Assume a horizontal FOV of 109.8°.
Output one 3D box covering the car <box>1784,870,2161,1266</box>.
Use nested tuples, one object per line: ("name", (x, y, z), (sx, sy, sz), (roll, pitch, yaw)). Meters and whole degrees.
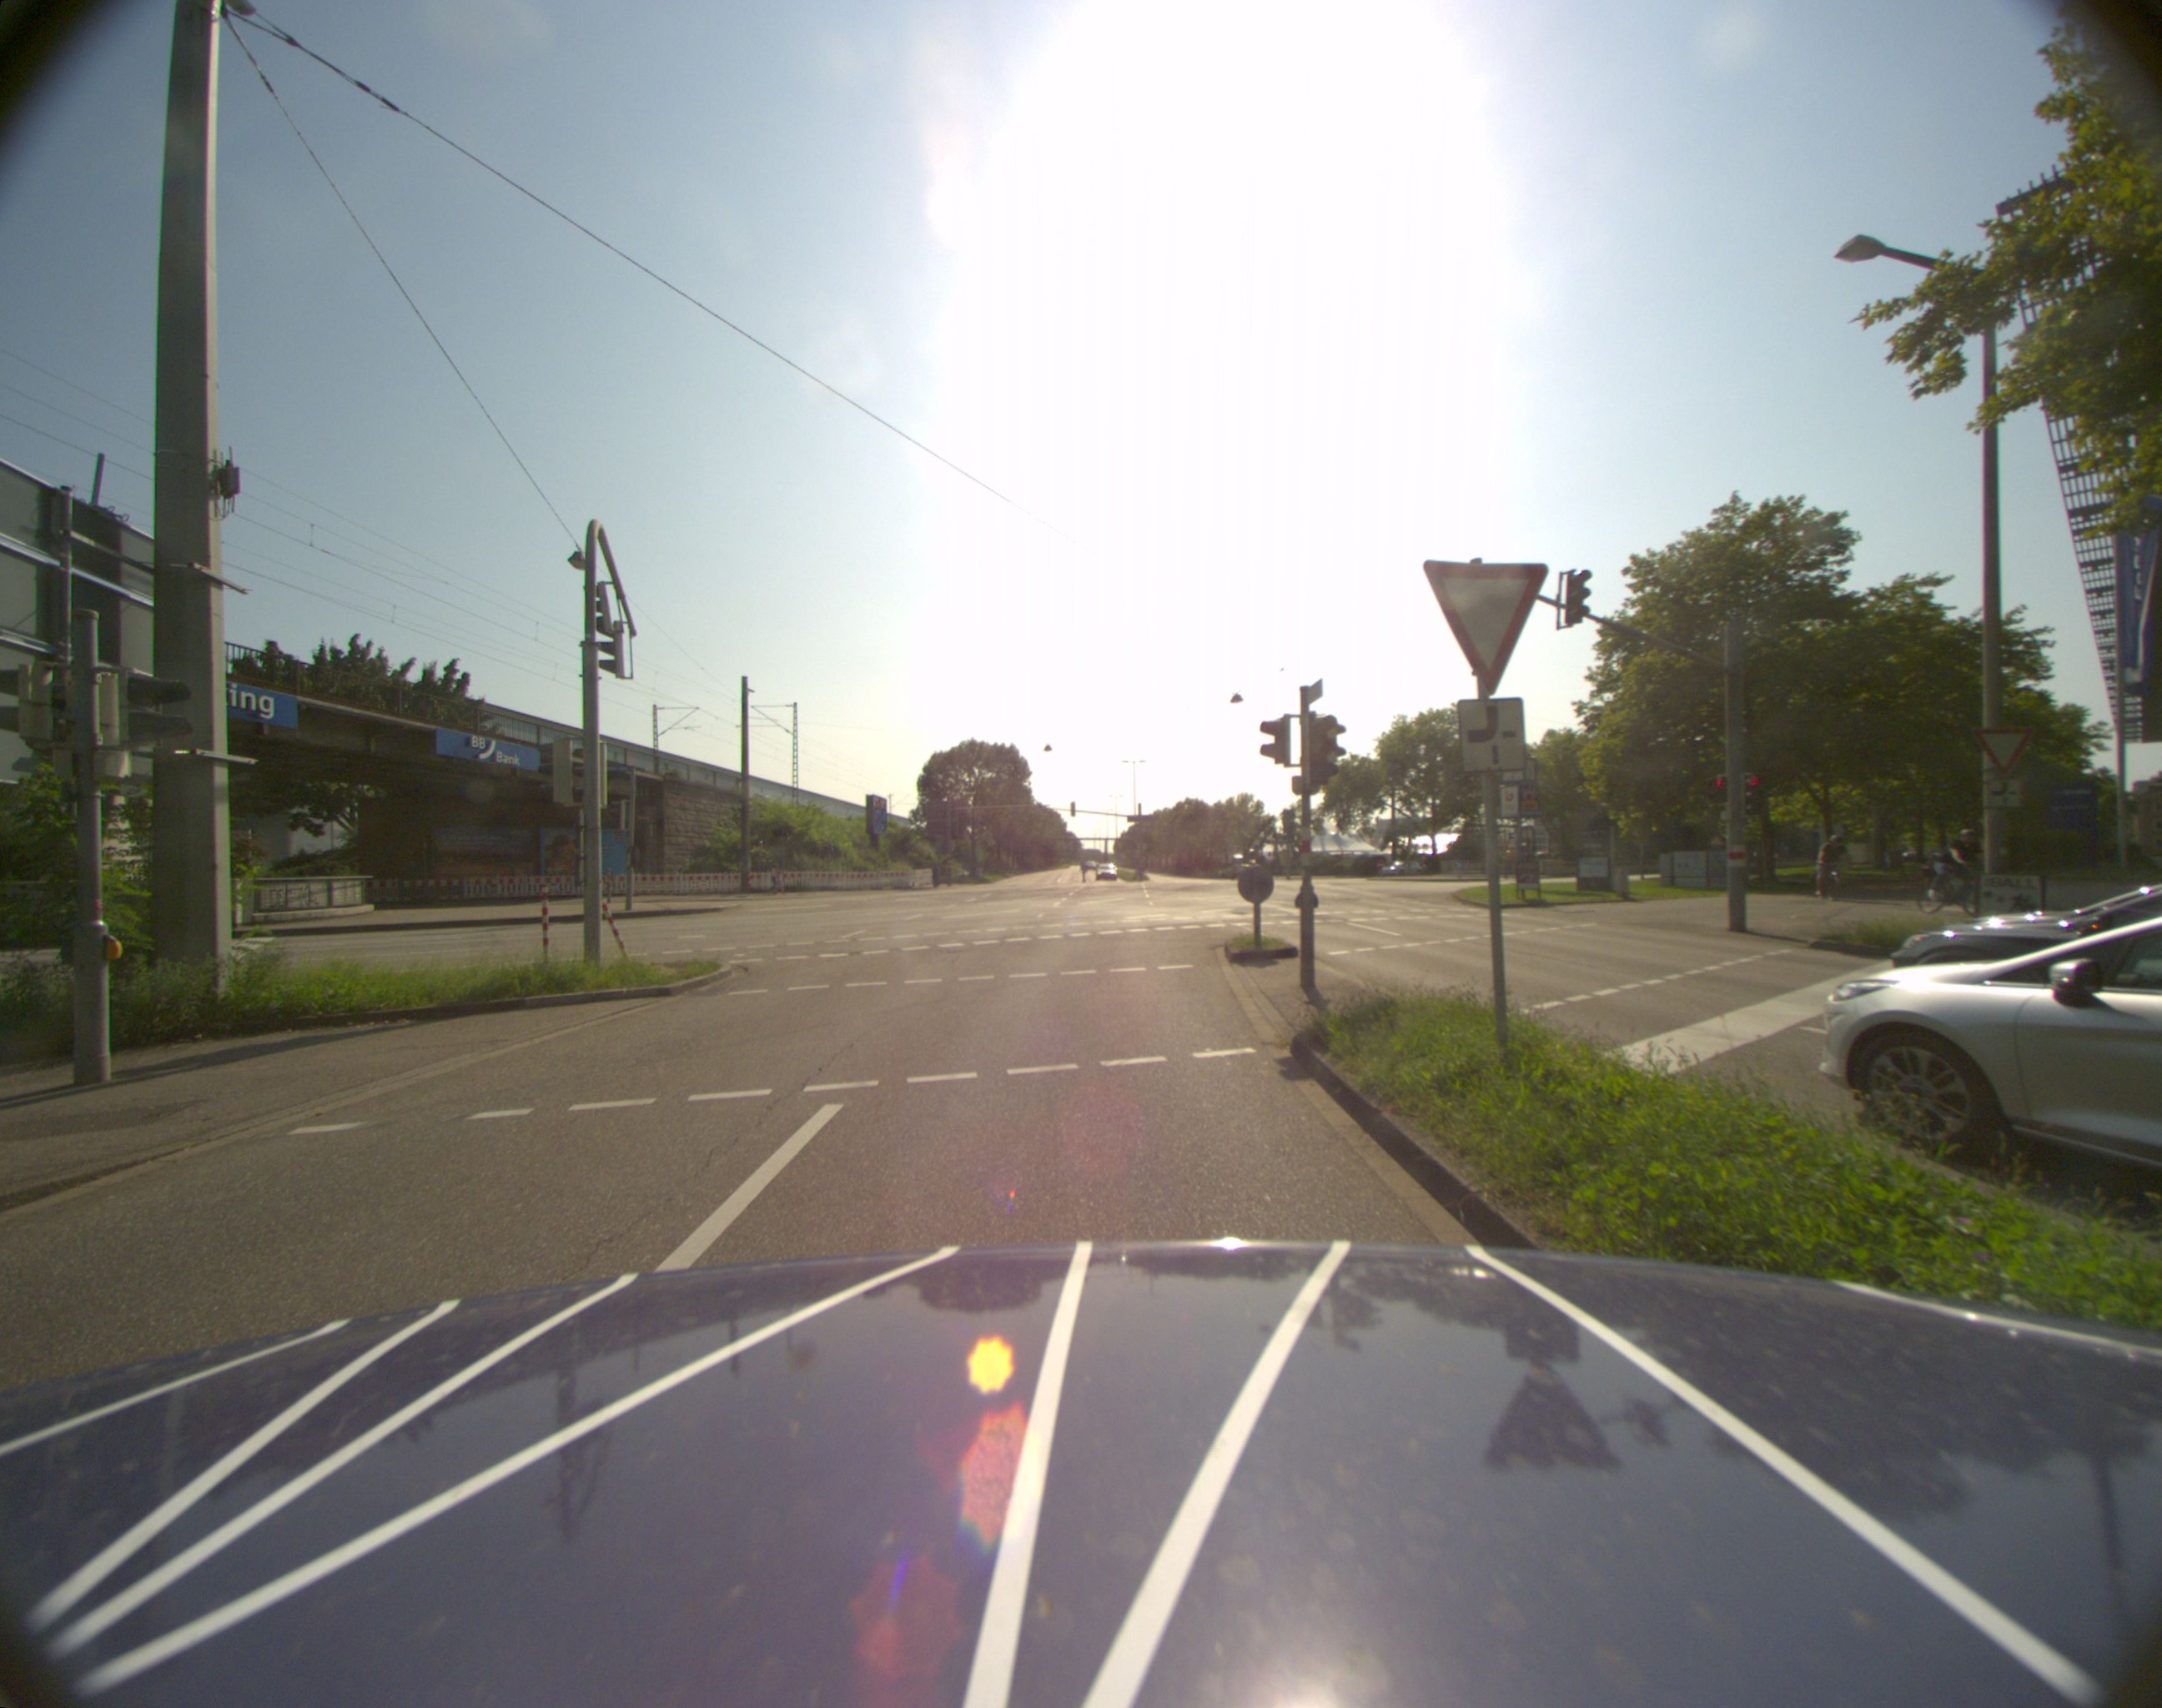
("car", (4.957, 0.837, 2.470), (1.647, 1.486, 4.000), (1, 0, 1))

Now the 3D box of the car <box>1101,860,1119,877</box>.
("car", (2.601, 1.249, 67.556), (1.544, 1.433, 3.396), (-1, 0, 3))

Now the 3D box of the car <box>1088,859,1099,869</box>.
("car", (2.247, 1.756, 132.664), (1.864, 1.584, 4.001), (-1, 0, 2))

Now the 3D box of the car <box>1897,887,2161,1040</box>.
("car", (10.889, 1.068, 7.230), (1.714, 1.345, 4.159), (1, 0, -1))

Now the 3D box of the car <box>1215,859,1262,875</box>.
("car", (15.302, 1.275, 73.785), (3.989, 1.543, 2.004), (-1, 0, 32))

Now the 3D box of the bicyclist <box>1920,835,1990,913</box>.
("bicyclist", (19.509, 0.440, 16.974), (0.668, 1.678, 0.810), (0, 0, 11))

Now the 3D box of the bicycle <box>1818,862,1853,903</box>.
("bicycle", (21.248, 0.772, 21.415), (0.642, 1.088, 1.653), (-1, 0, 43))

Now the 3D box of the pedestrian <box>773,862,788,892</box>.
("pedestrian", (-16.030, 1.244, 40.535), (0.636, 1.565, 0.489), (-2, 1, -37))

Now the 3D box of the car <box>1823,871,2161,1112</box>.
("car", (7.788, 0.894, 4.858), (1.859, 1.495, 4.264), (0, 0, -1))

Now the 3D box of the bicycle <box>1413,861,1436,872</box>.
("bicycle", (26.231, 0.951, 58.078), (0.531, 0.860, 1.734), (-1, 0, -21))

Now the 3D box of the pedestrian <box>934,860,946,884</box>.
("pedestrian", (-9.379, 1.203, 50.436), (0.649, 1.565, 0.759), (1, 1, -2))

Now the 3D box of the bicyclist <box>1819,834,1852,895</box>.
("bicyclist", (21.233, 0.304, 21.401), (0.632, 1.678, 0.811), (0, 0, 43))

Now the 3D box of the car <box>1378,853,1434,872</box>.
("car", (28.287, 0.711, 66.133), (5.440, 1.438, 1.855), (-2, 0, -34))

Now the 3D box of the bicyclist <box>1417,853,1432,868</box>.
("bicyclist", (26.223, 0.488, 58.057), (0.521, 1.134, 0.907), (-1, 0, -21))

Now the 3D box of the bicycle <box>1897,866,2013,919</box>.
("bicycle", (19.515, 0.834, 17.028), (0.685, 1.084, 1.898), (-1, 0, 11))

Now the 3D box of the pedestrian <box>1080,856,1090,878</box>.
("pedestrian", (0.314, 1.028, 59.434), (0.646, 1.715, 0.588), (0, 1, 15))
